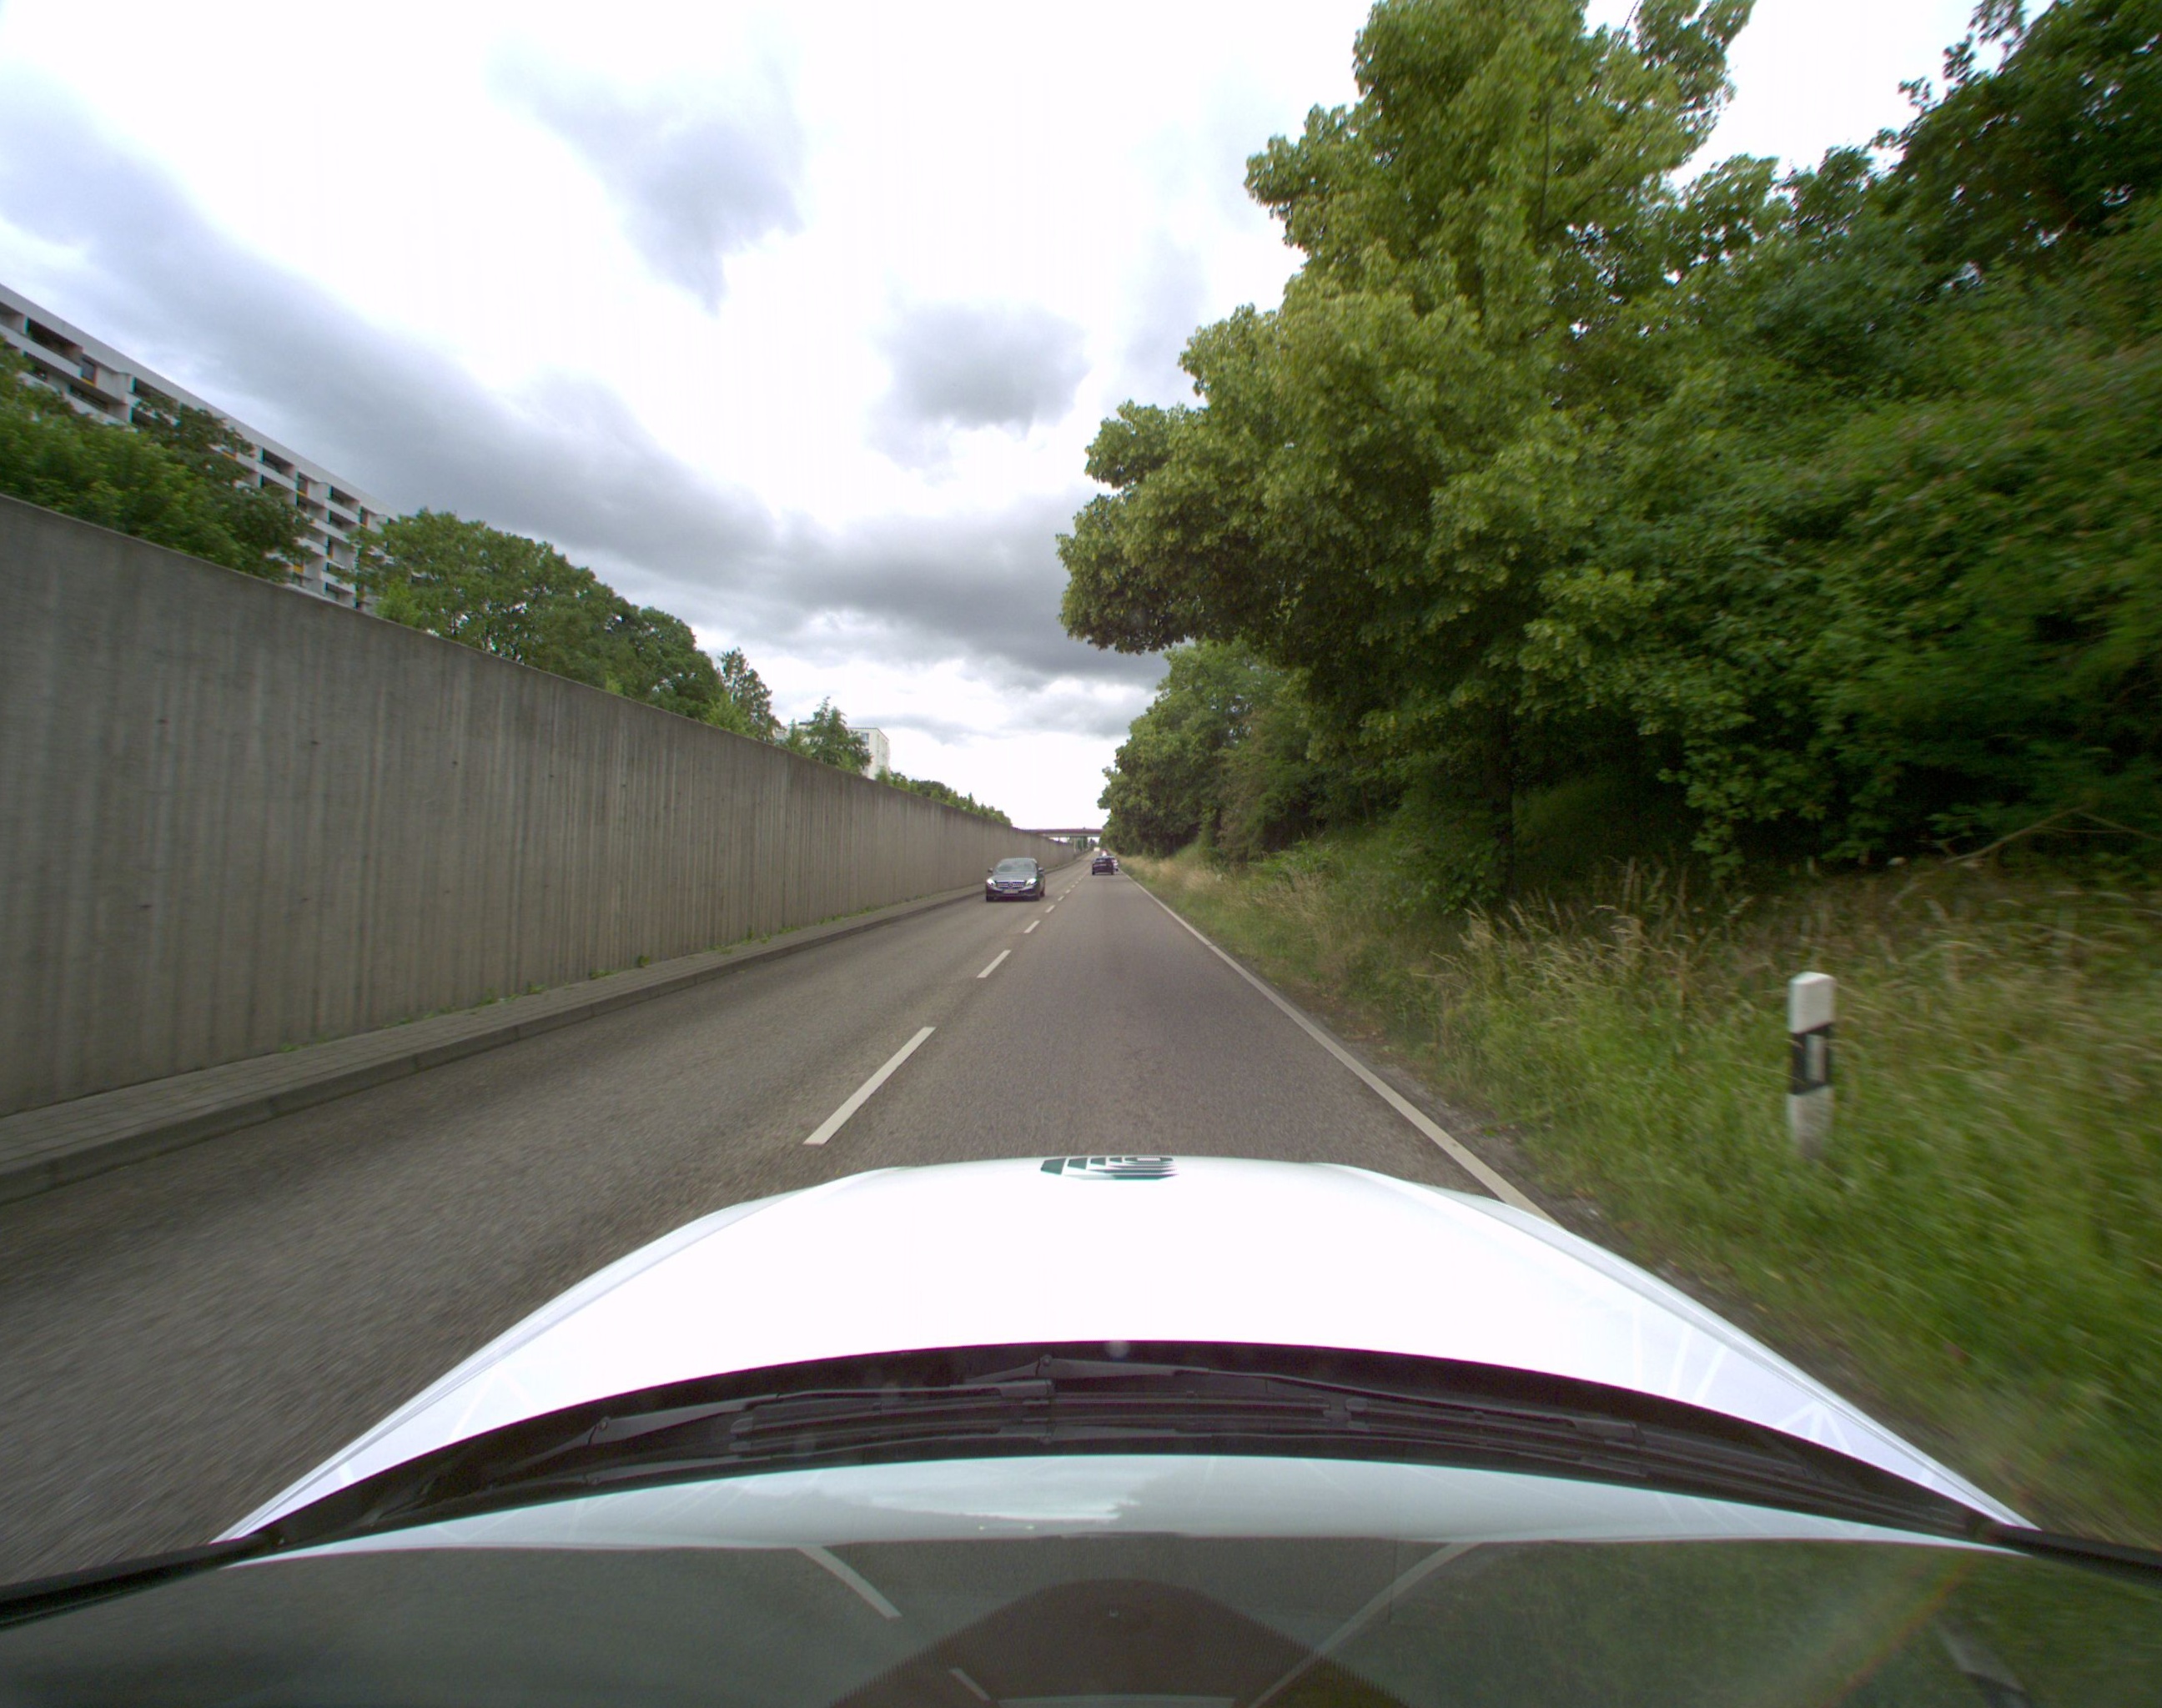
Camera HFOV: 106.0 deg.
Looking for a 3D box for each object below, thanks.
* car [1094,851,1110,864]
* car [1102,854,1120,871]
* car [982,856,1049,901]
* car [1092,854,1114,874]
[{"bbox_3d":[2.575,0.387,100.625,1.861,1.490,4.256,2,0,0],"label":"car"},{"bbox_3d":[3.008,0.894,82.114,1.747,1.523,4.038,-3,-2,2],"label":"car"},{"bbox_3d":[-2.302,0.822,29.669,1.885,1.483,4.824,-1,0,2],"label":"car"},{"bbox_3d":[1.789,0.806,66.127,1.748,1.523,4.037,-1,-2,1],"label":"car"}]
